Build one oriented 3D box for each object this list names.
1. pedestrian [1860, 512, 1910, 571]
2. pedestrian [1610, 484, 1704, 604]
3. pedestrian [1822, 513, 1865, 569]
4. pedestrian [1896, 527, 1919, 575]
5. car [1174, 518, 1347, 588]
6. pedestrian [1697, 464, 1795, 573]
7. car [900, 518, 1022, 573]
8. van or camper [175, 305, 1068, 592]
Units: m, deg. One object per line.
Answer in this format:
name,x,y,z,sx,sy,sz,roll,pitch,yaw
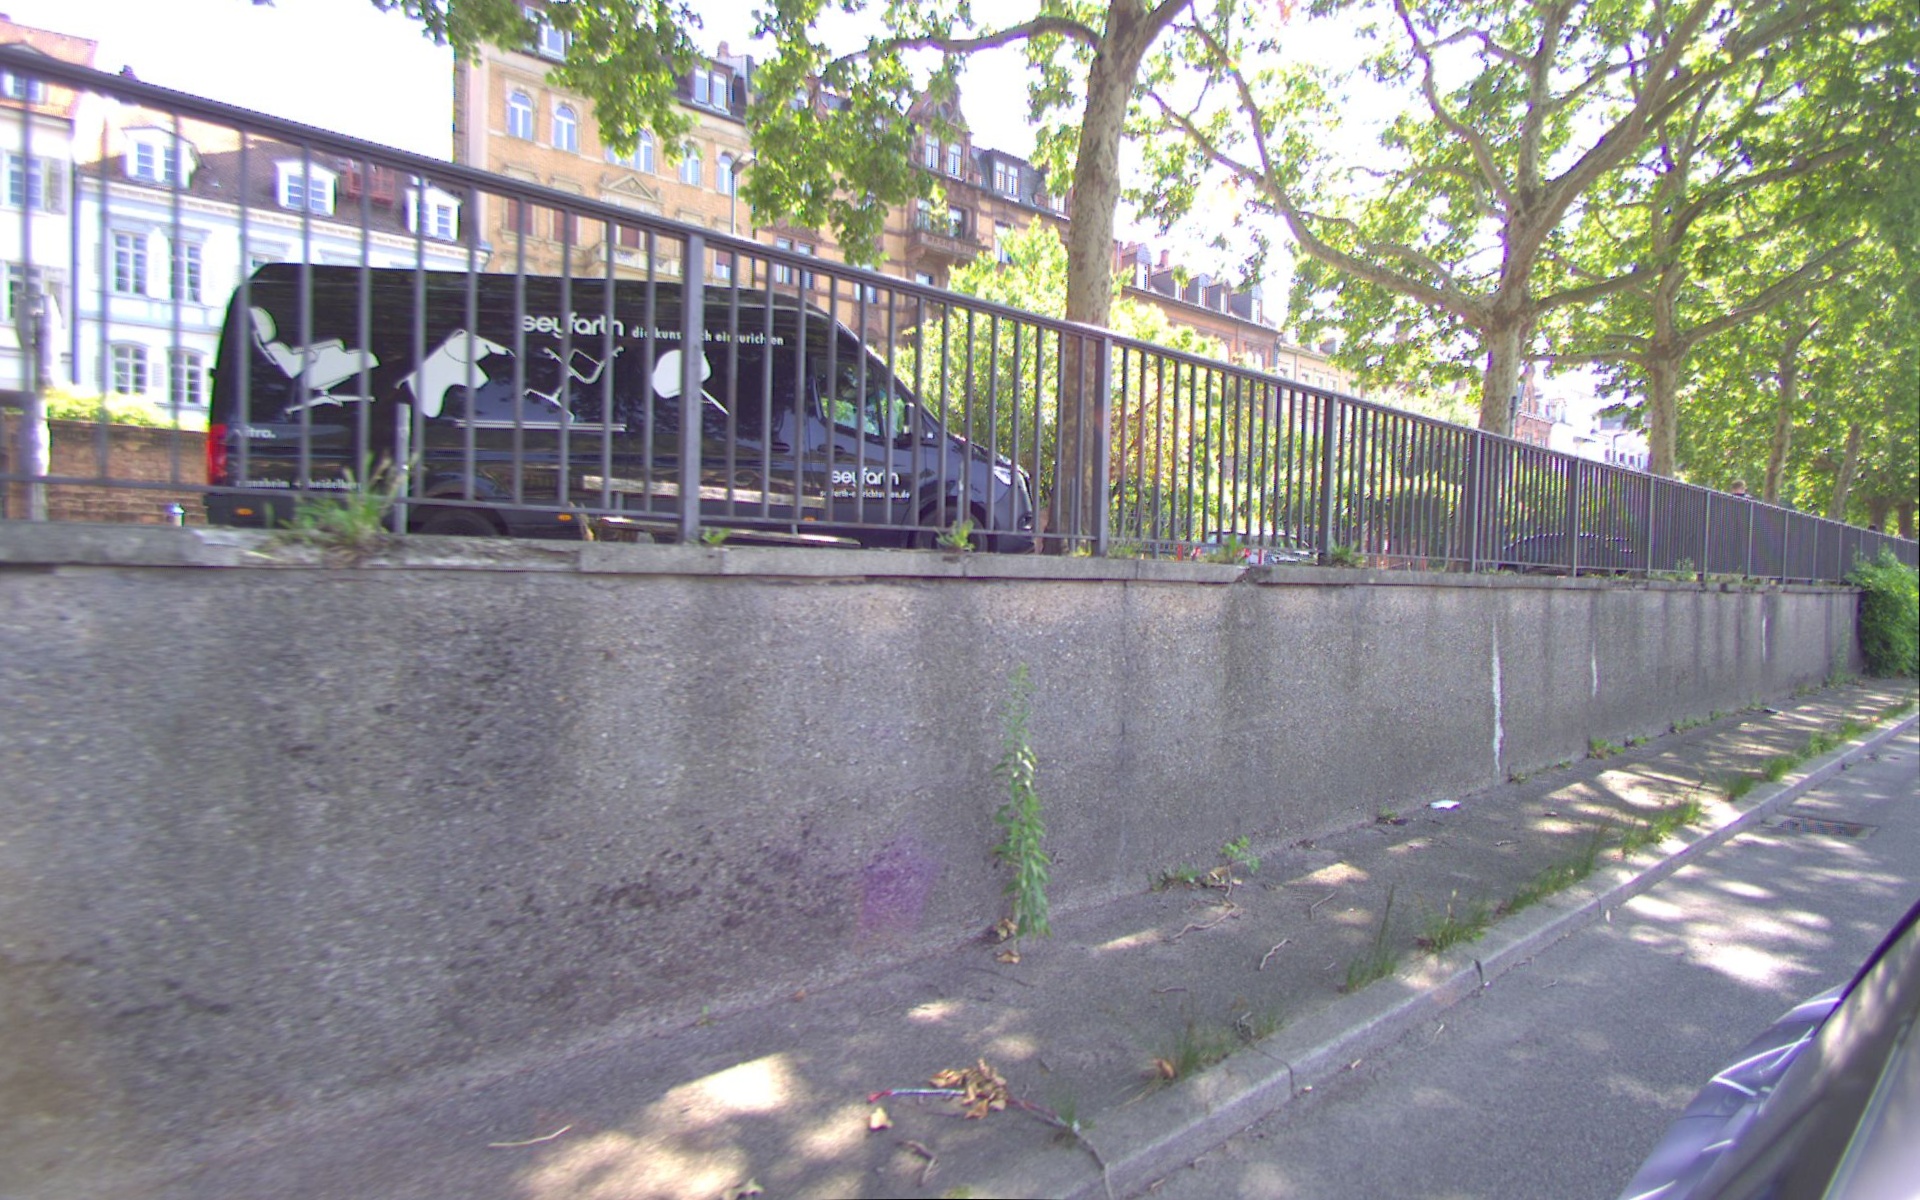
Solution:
pedestrian,22.661,-1.432,24.799,0.800,1.382,0.754,0,4,-42
pedestrian,8.760,-0.703,12.717,0.933,1.441,0.682,0,4,-41
pedestrian,22.380,-1.494,25.627,0.781,1.382,0.645,0,4,-42
pedestrian,33.852,-1.741,36.090,0.646,1.660,0.617,3,2,42
car,7.415,-1.123,24.778,4.348,1.531,1.842,0,3,-38
pedestrian,12.186,-1.254,15.691,1.010,1.598,0.938,0,4,-42
car,-0.026,-1.659,31.581,1.759,1.556,3.793,1,1,-40
van or camper,-2.800,-1.276,9.723,7.205,2.212,2.349,-1,0,-11
